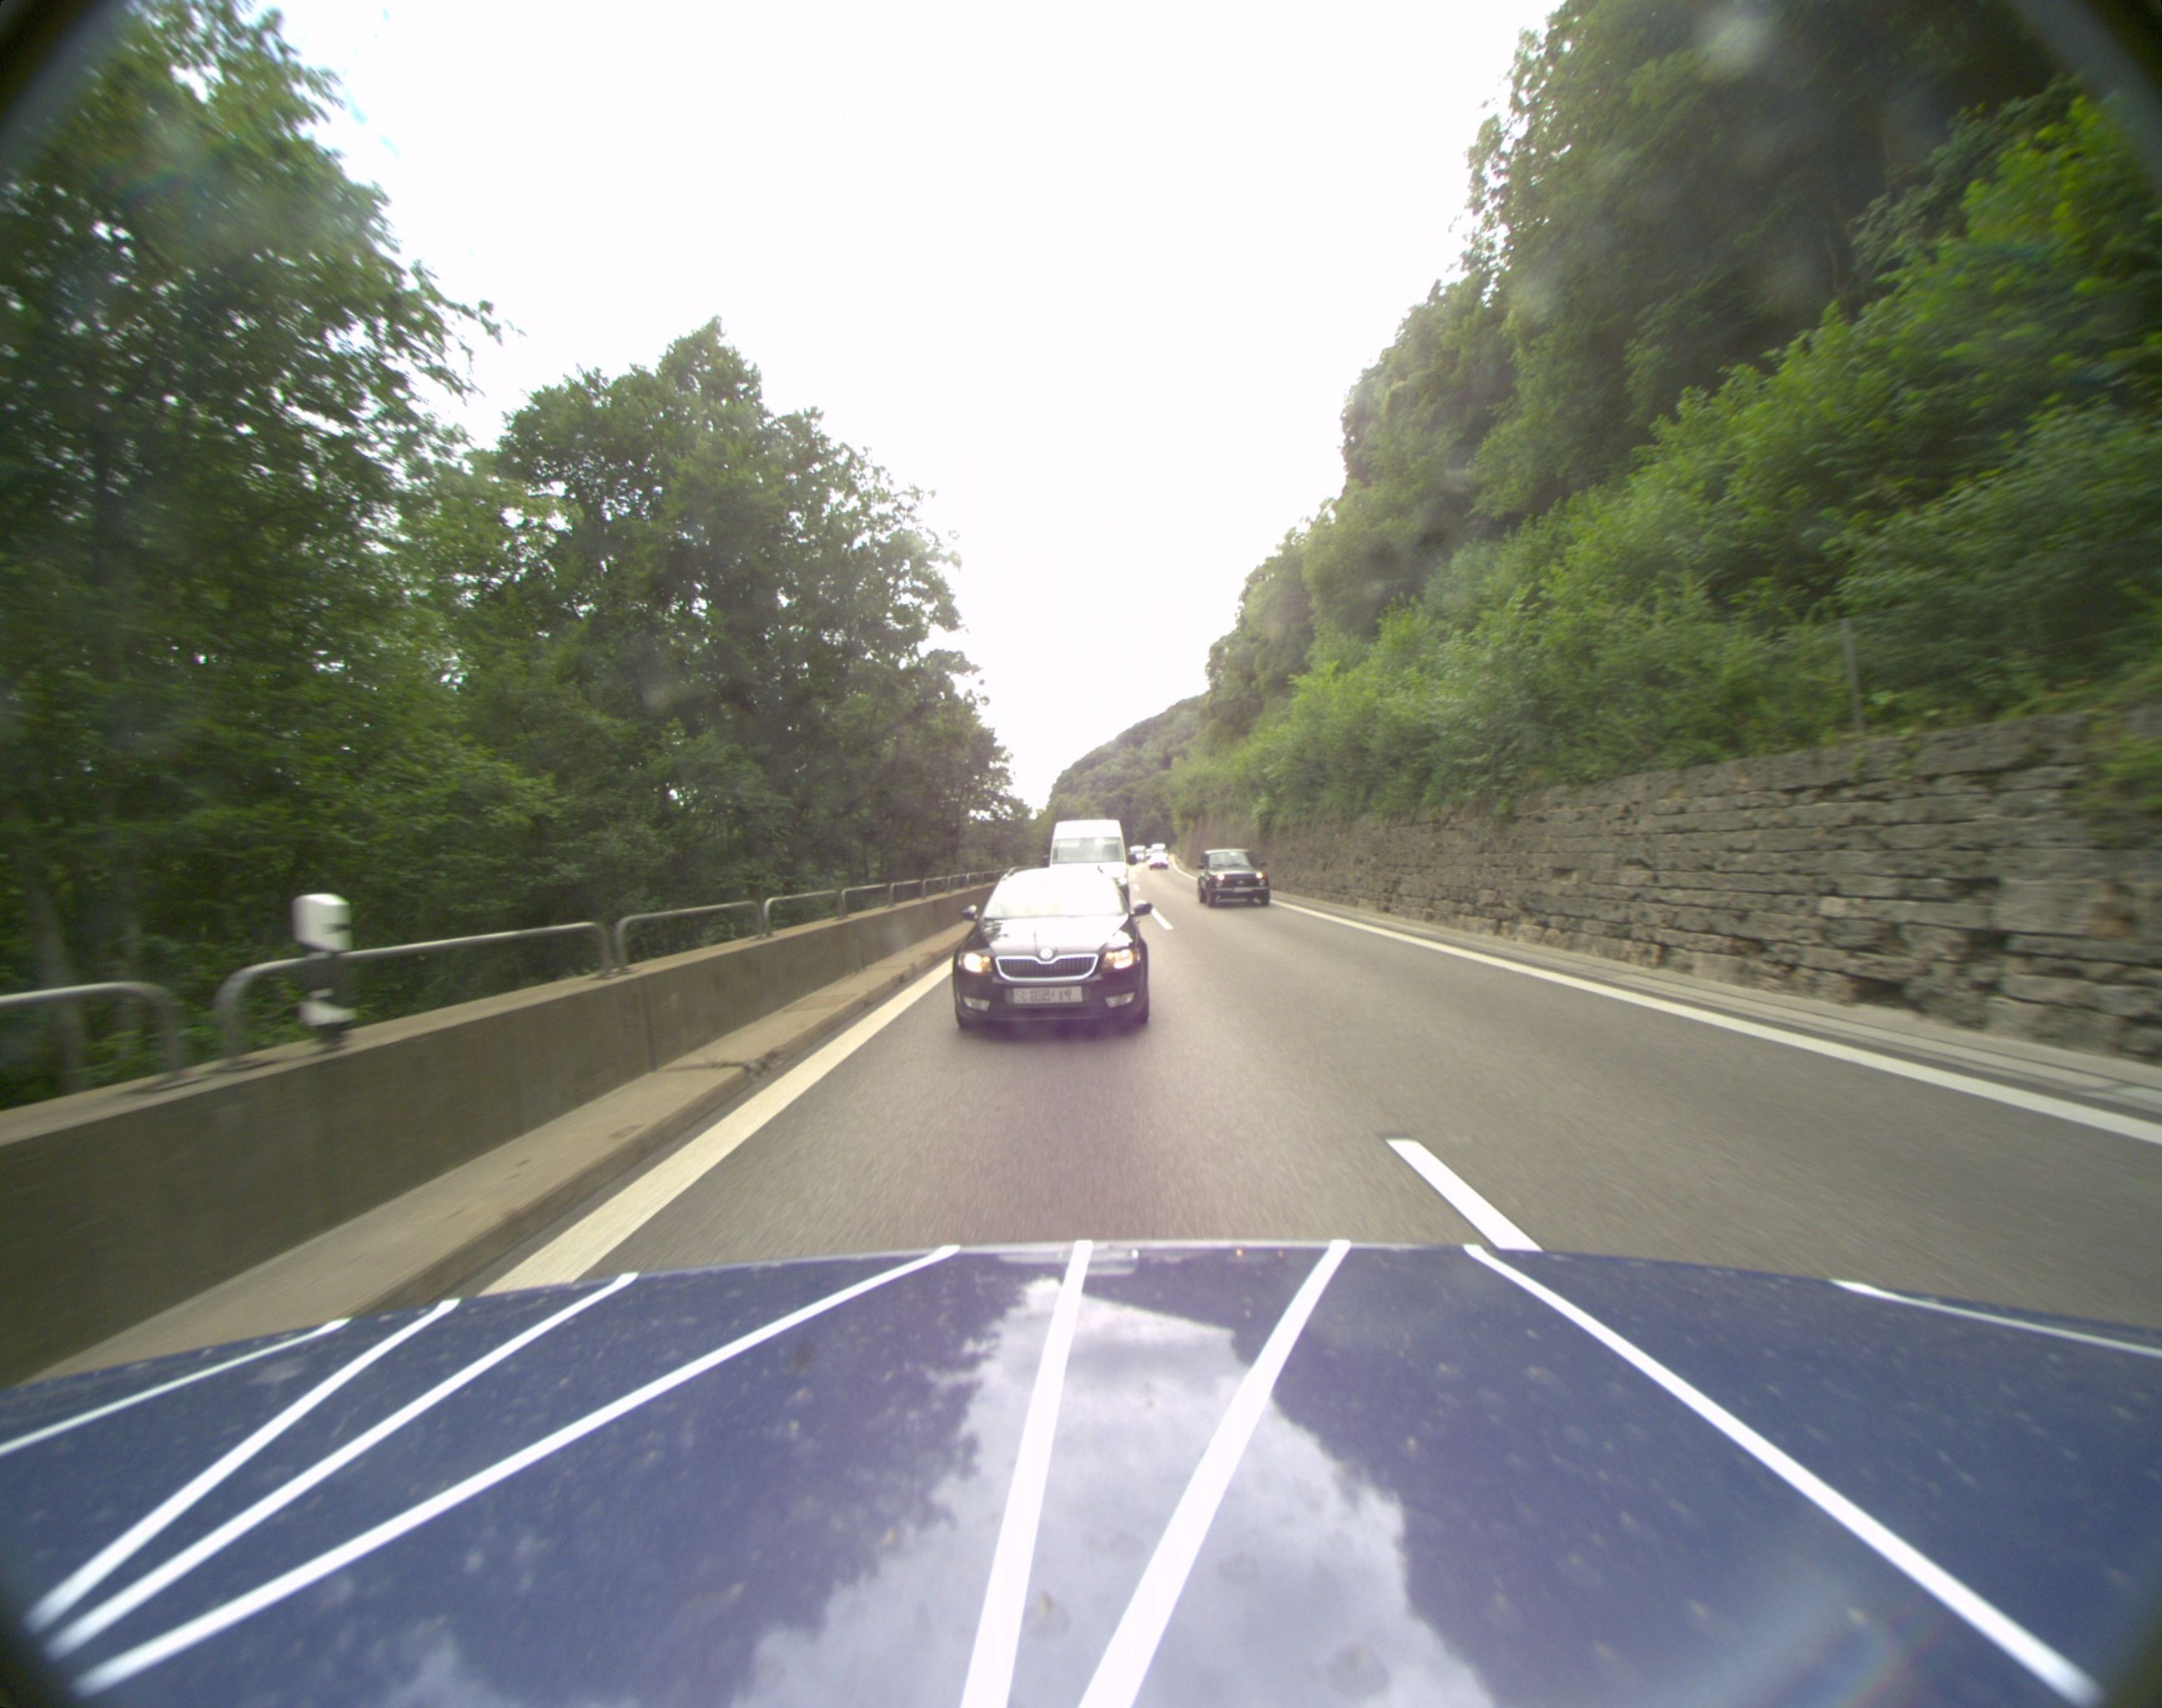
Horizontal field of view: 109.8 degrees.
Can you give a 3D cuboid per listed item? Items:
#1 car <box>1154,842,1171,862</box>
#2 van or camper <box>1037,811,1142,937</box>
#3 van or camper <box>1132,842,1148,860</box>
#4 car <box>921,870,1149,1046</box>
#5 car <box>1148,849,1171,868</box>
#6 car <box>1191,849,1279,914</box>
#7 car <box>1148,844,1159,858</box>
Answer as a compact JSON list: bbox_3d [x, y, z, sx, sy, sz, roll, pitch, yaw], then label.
[{"bbox_3d":[10.815,-0.258,100.810,1.975,2.628,4.585,-2,0,5],"label":"car"},{"bbox_3d":[0.257,0.433,19.399,2.081,2.575,5.912,-4,0,1],"label":"van or camper"},{"bbox_3d":[9.411,-0.529,120.964,2.269,2.527,5.912,-4,1,5],"label":"van or camper"},{"bbox_3d":[-0.290,0.986,9.285,1.998,1.389,5.009,-2,0,3],"label":"car"},{"bbox_3d":[7.572,0.443,73.451,1.812,1.646,4.584,-3,0,2],"label":"car"},{"bbox_3d":[4.432,0.719,22.559,1.812,1.646,4.584,-3,0,3],"label":"car"},{"bbox_3d":[14.165,-0.582,148.662,1.975,2.545,4.585,-2,0,5],"label":"car"}]
